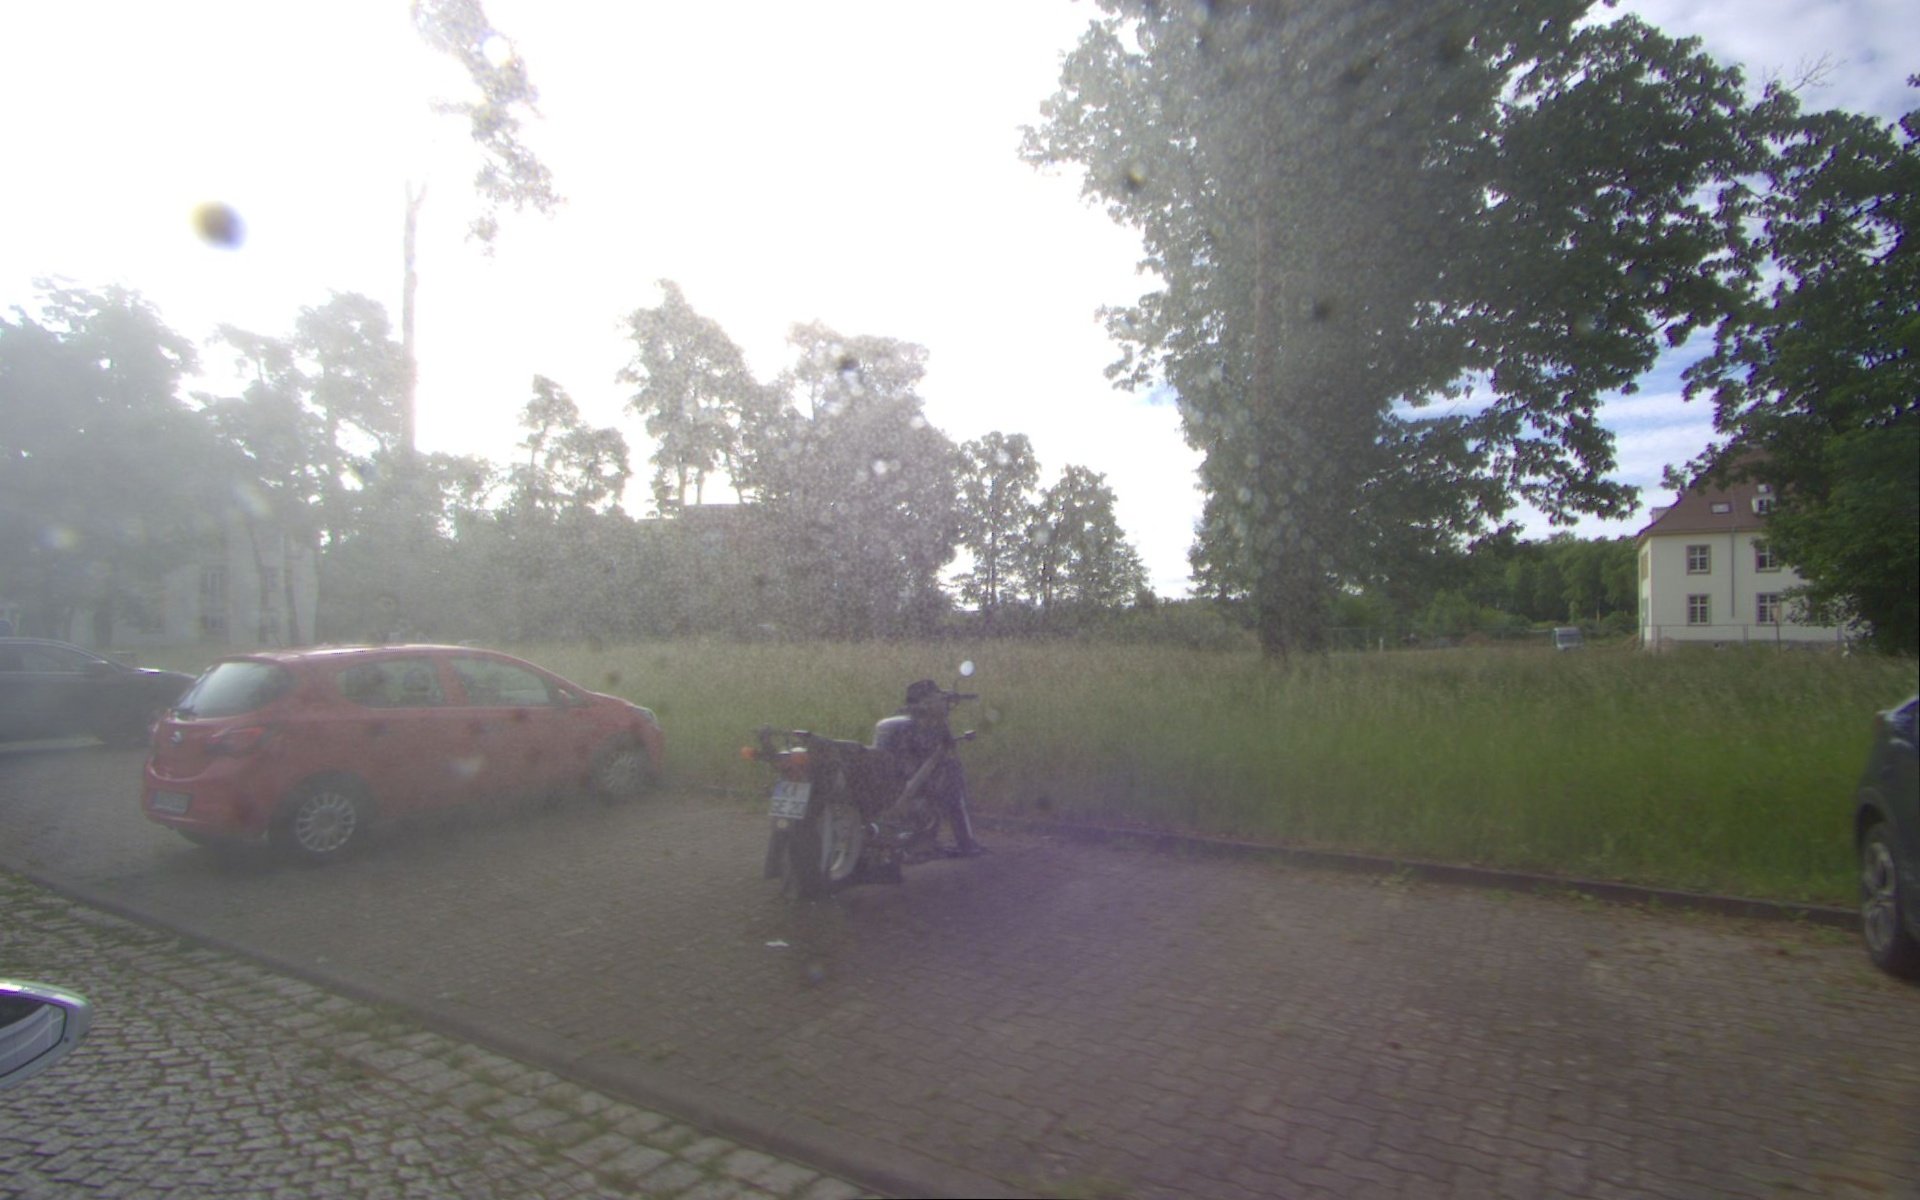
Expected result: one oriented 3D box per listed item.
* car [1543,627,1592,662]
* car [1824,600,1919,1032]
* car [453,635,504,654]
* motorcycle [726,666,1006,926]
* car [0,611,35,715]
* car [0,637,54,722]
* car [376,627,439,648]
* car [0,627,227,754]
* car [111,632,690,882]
[{"bbox_3d":[48.925,3.631,80.733,2.238,2.673,5.675,0,-3,20],"label":"car"},{"bbox_3d":[4.104,0.796,2.744,1.859,1.644,4.239,-1,-1,30],"label":"car"},{"bbox_3d":[-47.403,4.376,98.551,1.874,1.826,4.126,-1,-4,34],"label":"car"},{"bbox_3d":[-0.470,1.076,6.233,0.560,1.217,2.227,0,-1,30],"label":"motorcycle"},{"bbox_3d":[-20.444,1.208,18.347,1.937,2.030,4.790,-1,-1,30],"label":"car"},{"bbox_3d":[-18.339,1.408,16.980,1.695,1.498,4.094,-1,-1,29],"label":"car"},{"bbox_3d":[-56.942,3.853,103.246,2.076,2.044,5.293,-1,-4,33],"label":"car"},{"bbox_3d":[-12.942,1.199,13.798,1.924,1.615,4.199,-1,-1,30],"label":"car"},{"bbox_3d":[-4.336,1.050,8.403,1.758,1.516,3.918,-1,-1,30],"label":"car"}]
